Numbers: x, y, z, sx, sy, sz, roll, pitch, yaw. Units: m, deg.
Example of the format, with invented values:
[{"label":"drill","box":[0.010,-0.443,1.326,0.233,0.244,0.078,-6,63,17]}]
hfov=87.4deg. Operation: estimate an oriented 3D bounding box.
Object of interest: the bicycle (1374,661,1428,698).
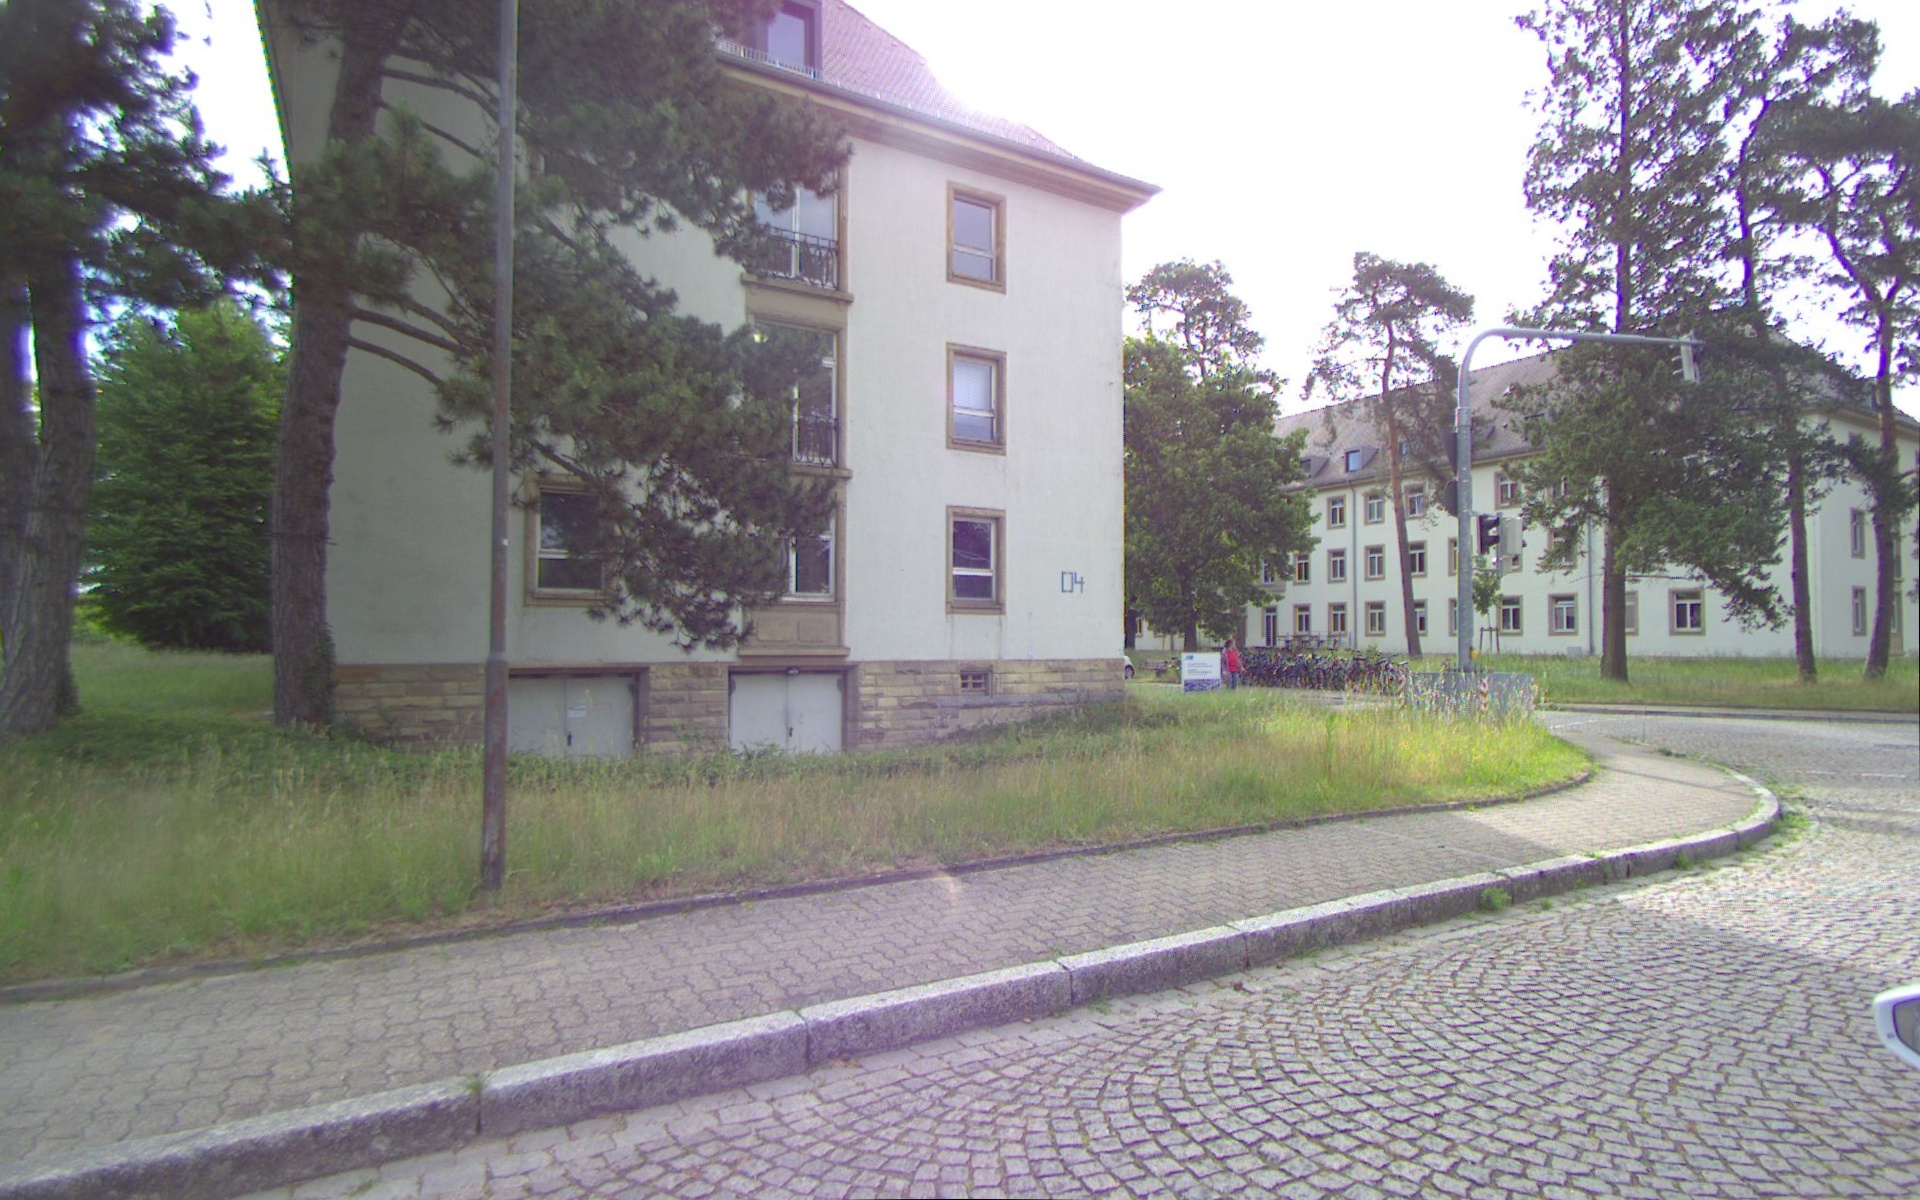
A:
[{"label":"bicycle","box":[12.732,2.273,29.008,0.447,1.009,1.453,1,-3,-29]}]

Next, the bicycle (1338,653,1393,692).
[{"label":"bicycle","box":[12.782,2.281,31.648,1.932,1.193,0.572,2,-3,-32]}]

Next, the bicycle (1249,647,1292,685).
[{"label":"bicycle","box":[10.807,2.284,34.978,1.677,1.300,0.446,2,-3,-32]}]

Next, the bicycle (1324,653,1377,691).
[{"label":"bicycle","box":[12.519,2.291,32.171,1.909,1.193,0.524,2,-3,-32]}]

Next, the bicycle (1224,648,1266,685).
[{"label":"bicycle","box":[10.199,2.353,35.951,1.677,1.300,0.446,2,-3,-32]}]

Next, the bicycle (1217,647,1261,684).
[{"label":"bicycle","box":[10.131,2.364,36.460,1.765,1.300,0.440,2,-3,-32]}]

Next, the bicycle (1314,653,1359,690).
[{"label":"bicycle","box":[12.215,2.310,32.584,1.677,1.193,0.446,2,-3,-32]}]

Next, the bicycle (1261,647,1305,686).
[{"label":"bicycle","box":[11.108,2.276,34.503,1.677,1.300,0.446,2,-3,-32]}]

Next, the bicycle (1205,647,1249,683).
[{"label":"bicycle","box":[9.788,2.369,36.792,1.807,1.300,0.446,2,-3,-32]}]

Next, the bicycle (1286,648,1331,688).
[{"label":"bicycle","box":[11.689,2.264,33.666,1.677,1.300,0.446,2,-3,-32]}]

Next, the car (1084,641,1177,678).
[{"label":"car","box":[7.592,2.637,44.695,3.851,1.576,1.831,2,-3,-30]}]

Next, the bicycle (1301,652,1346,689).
[{"label":"bicycle","box":[11.955,2.303,32.993,1.677,1.193,0.446,2,-3,-32]}]

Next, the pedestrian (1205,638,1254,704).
[{"label":"pedestrian","box":[7.126,1.867,26.561,0.929,1.690,0.855,1,-3,-31]}]

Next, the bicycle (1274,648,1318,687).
[{"label":"bicycle","box":[11.402,2.270,34.081,1.677,1.300,0.446,2,-3,-32]}]

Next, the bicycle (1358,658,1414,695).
[{"label":"bicycle","box":[13.198,2.342,31.089,1.974,1.092,0.572,2,-3,-32]}]

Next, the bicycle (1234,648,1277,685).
[{"label":"bicycle","box":[10.452,2.346,35.537,1.677,1.300,0.446,2,-3,-32]}]

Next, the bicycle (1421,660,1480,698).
[{"label":"bicycle","box":[13.513,2.158,27.703,0.447,1.009,1.453,1,-3,-29]}]
